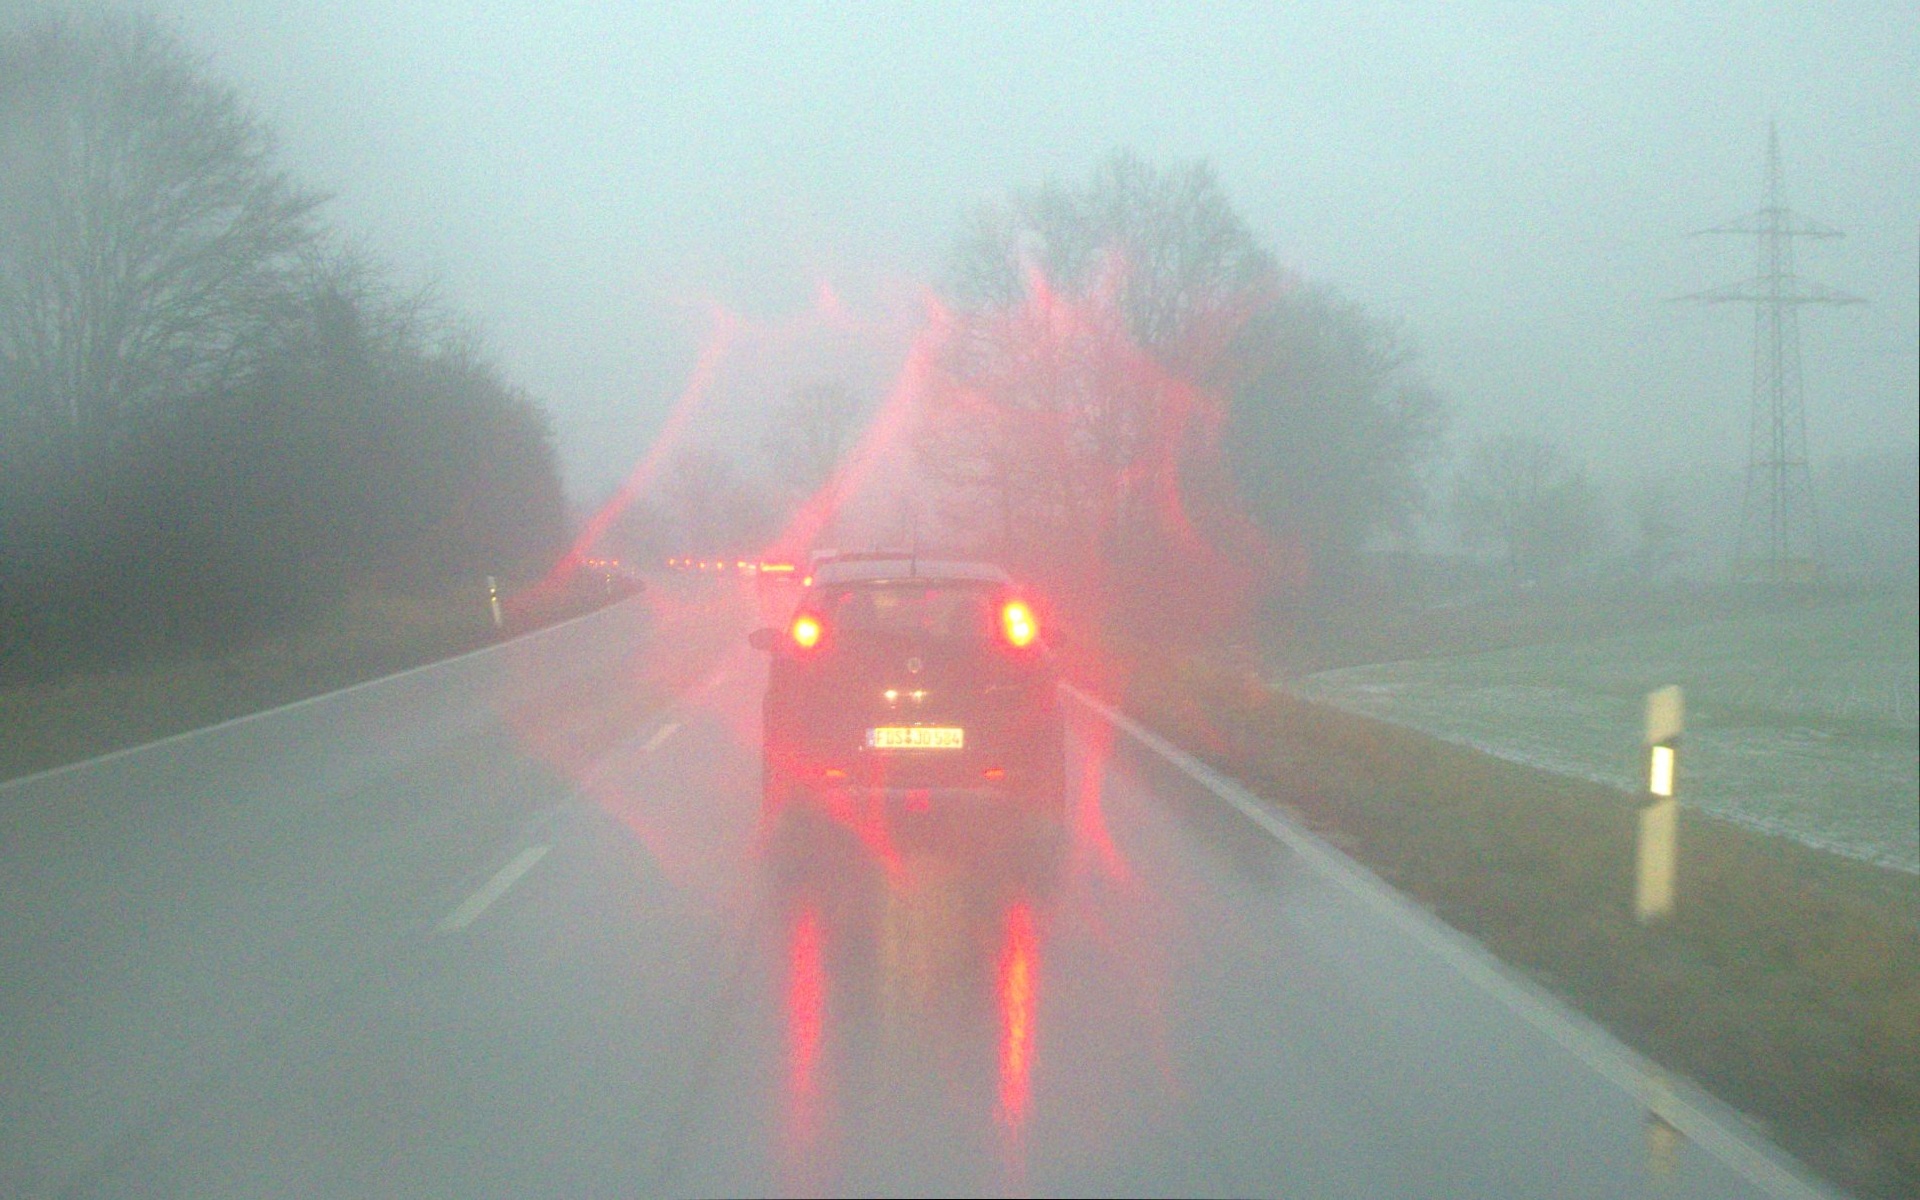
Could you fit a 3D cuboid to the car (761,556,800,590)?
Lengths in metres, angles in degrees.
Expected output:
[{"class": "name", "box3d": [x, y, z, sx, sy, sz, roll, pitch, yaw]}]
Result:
[{"class": "car", "box3d": [-7.472, -1.132, 143.342, 1.547, 1.392, 3.870, 1, 1, -2]}]

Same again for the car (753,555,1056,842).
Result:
[{"class": "car", "box3d": [-0.290, 0.506, 20.333, 1.602, 1.517, 3.869, 1, 1, 0]}]

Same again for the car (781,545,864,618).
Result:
[{"class": "car", "box3d": [-2.739, -0.383, 69.146, 1.547, 1.392, 3.869, 1, 1, -1]}]

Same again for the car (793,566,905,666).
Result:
[{"class": "car", "box3d": [-1.642, 0.207, 50.203, 1.547, 1.392, 3.870, 1, 1, -2]}]
